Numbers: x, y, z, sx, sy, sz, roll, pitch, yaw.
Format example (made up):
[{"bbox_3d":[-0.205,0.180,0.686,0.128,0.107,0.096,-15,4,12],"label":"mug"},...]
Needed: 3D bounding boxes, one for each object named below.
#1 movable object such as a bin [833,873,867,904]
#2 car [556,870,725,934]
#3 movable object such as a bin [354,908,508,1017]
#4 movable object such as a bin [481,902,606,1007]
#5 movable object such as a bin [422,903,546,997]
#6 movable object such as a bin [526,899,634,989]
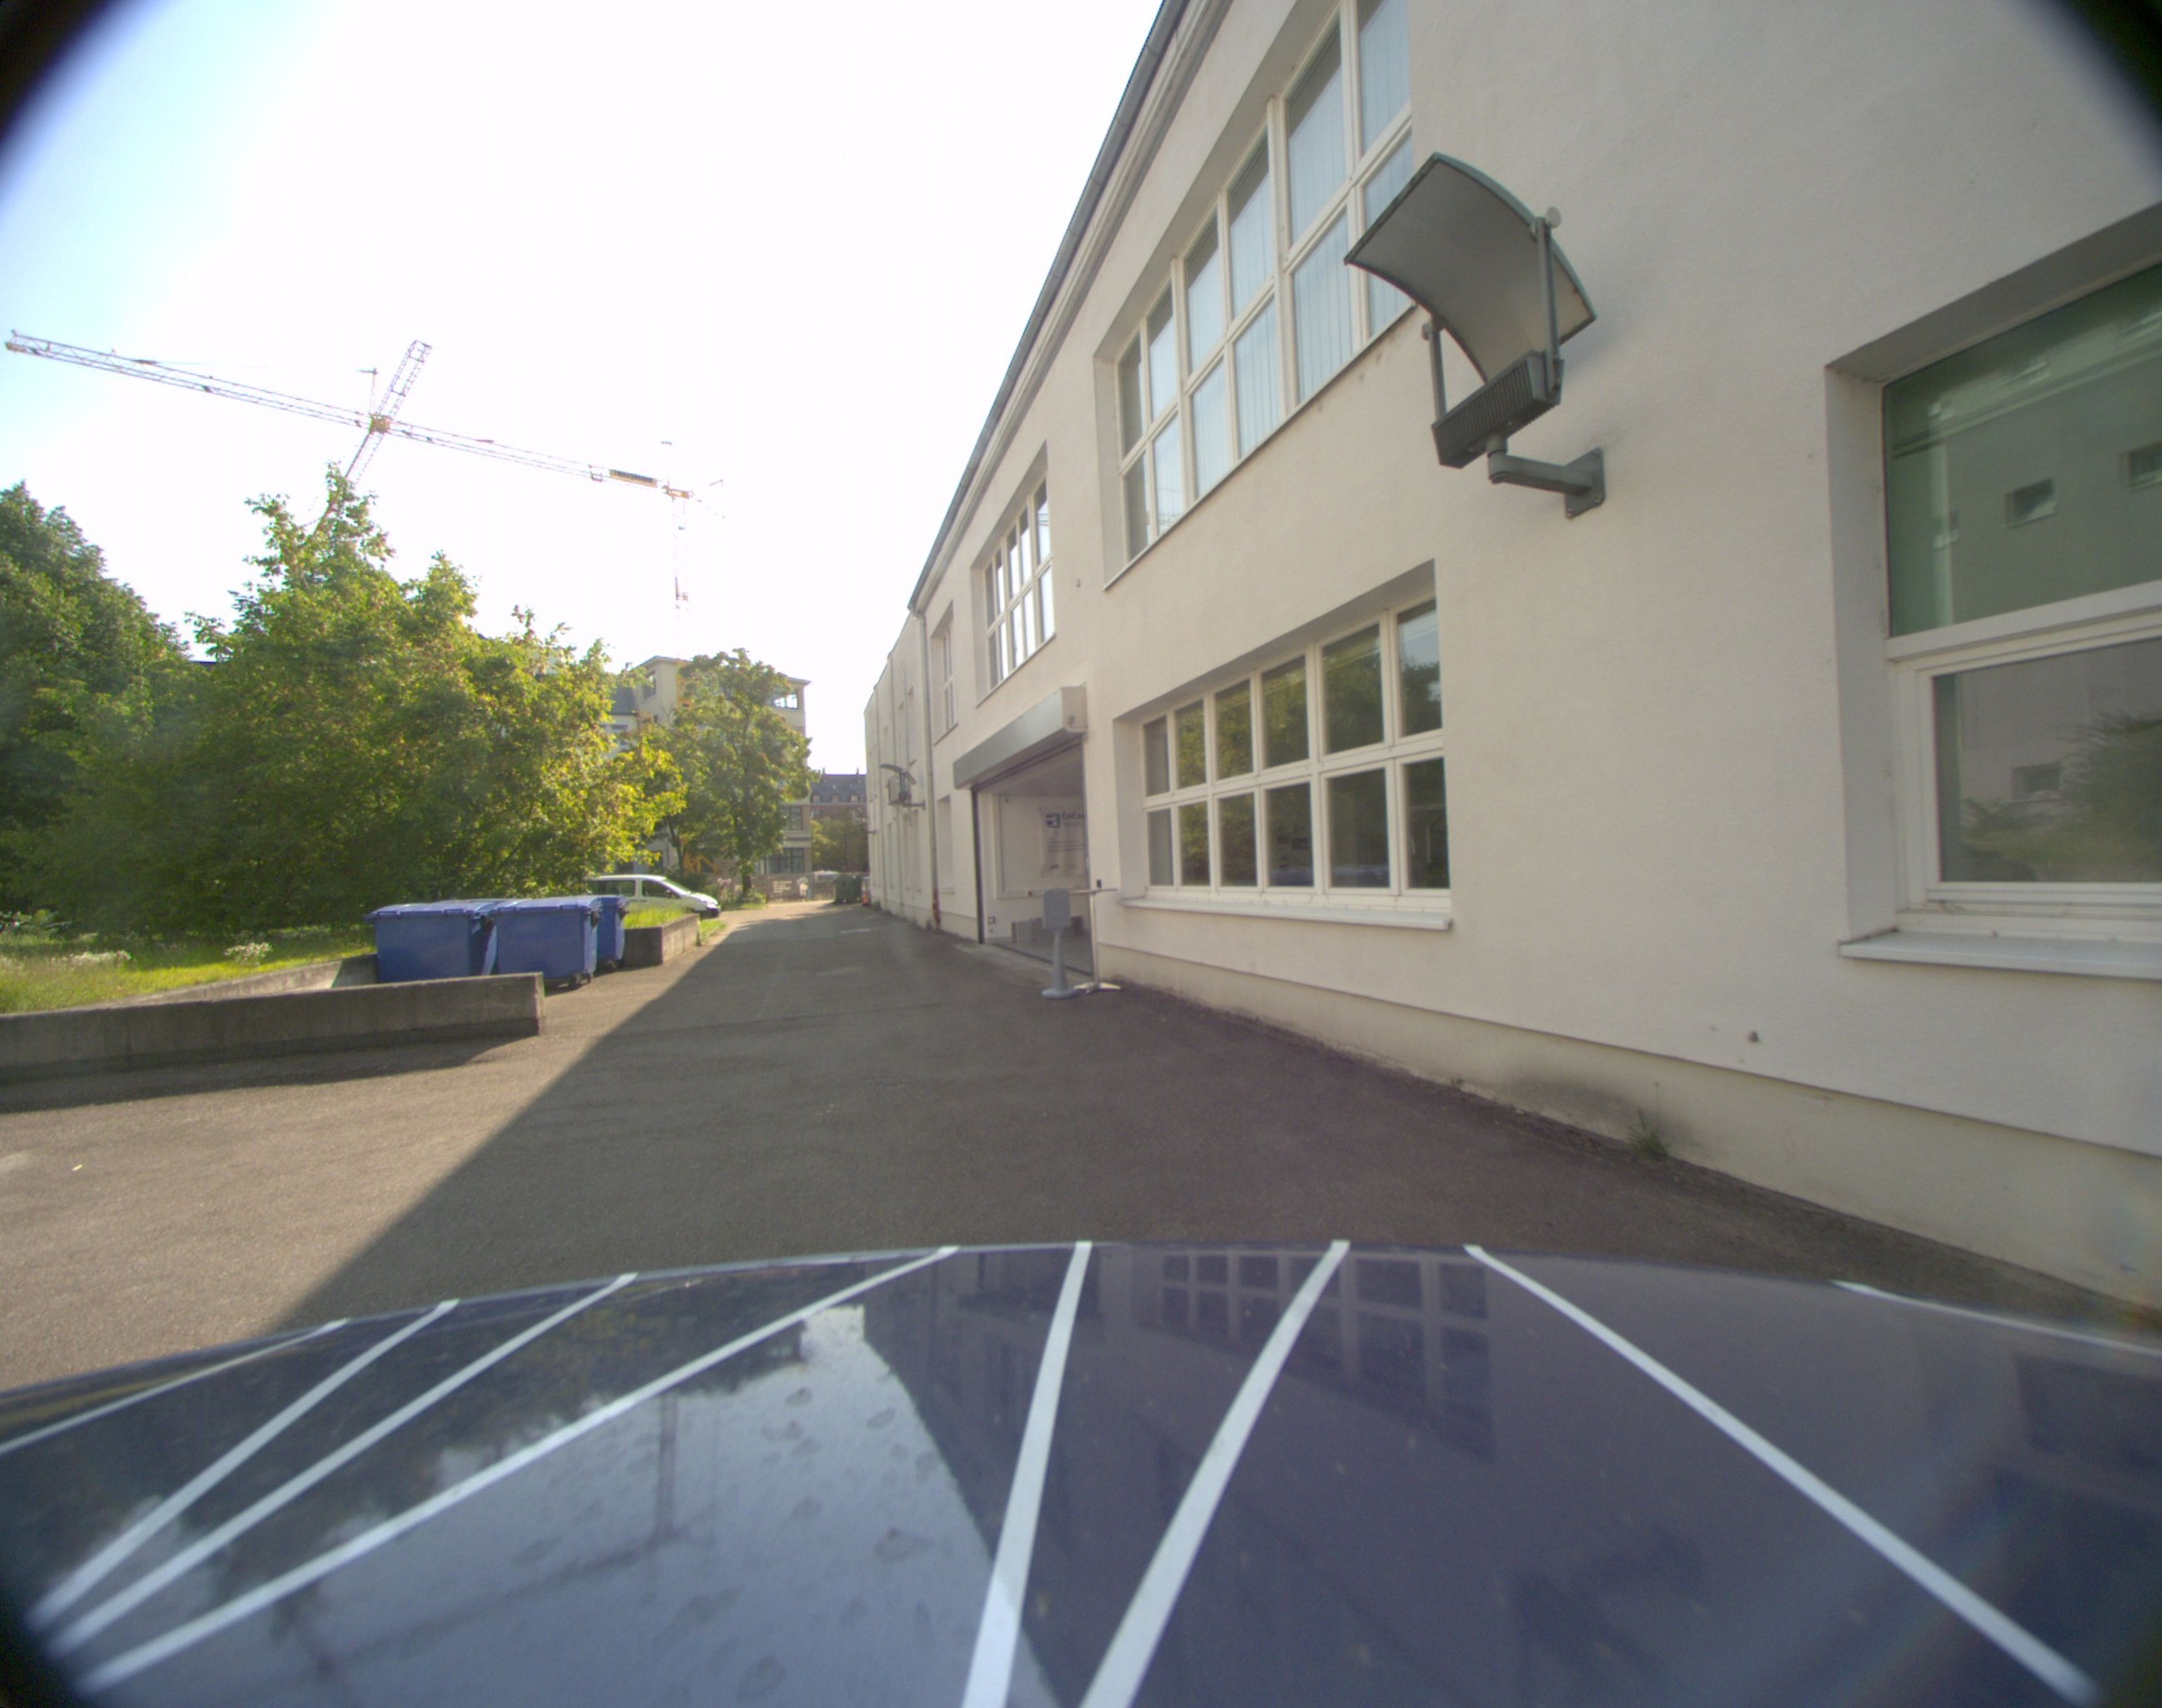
[{"bbox_3d":[-11.611,1.734,38.214,1.527,1.457,1.273,-3,0,-20],"label":"movable object such as a bin"},{"bbox_3d":[-15.335,1.625,26.780,4.797,1.920,1.906,-2,-1,-18],"label":"car"},{"bbox_3d":[-9.268,1.498,10.932,1.259,1.319,1.273,-3,0,-20],"label":"movable object such as a bin"},{"bbox_3d":[-7.978,1.448,11.370,1.215,1.343,1.273,-3,0,-22],"label":"movable object such as a bin"},{"bbox_3d":[-9.716,1.519,12.452,1.201,1.319,1.273,-3,0,-20],"label":"movable object such as a bin"},{"bbox_3d":[-8.430,1.475,12.875,1.201,1.319,1.273,-3,0,-20],"label":"movable object such as a bin"}]
